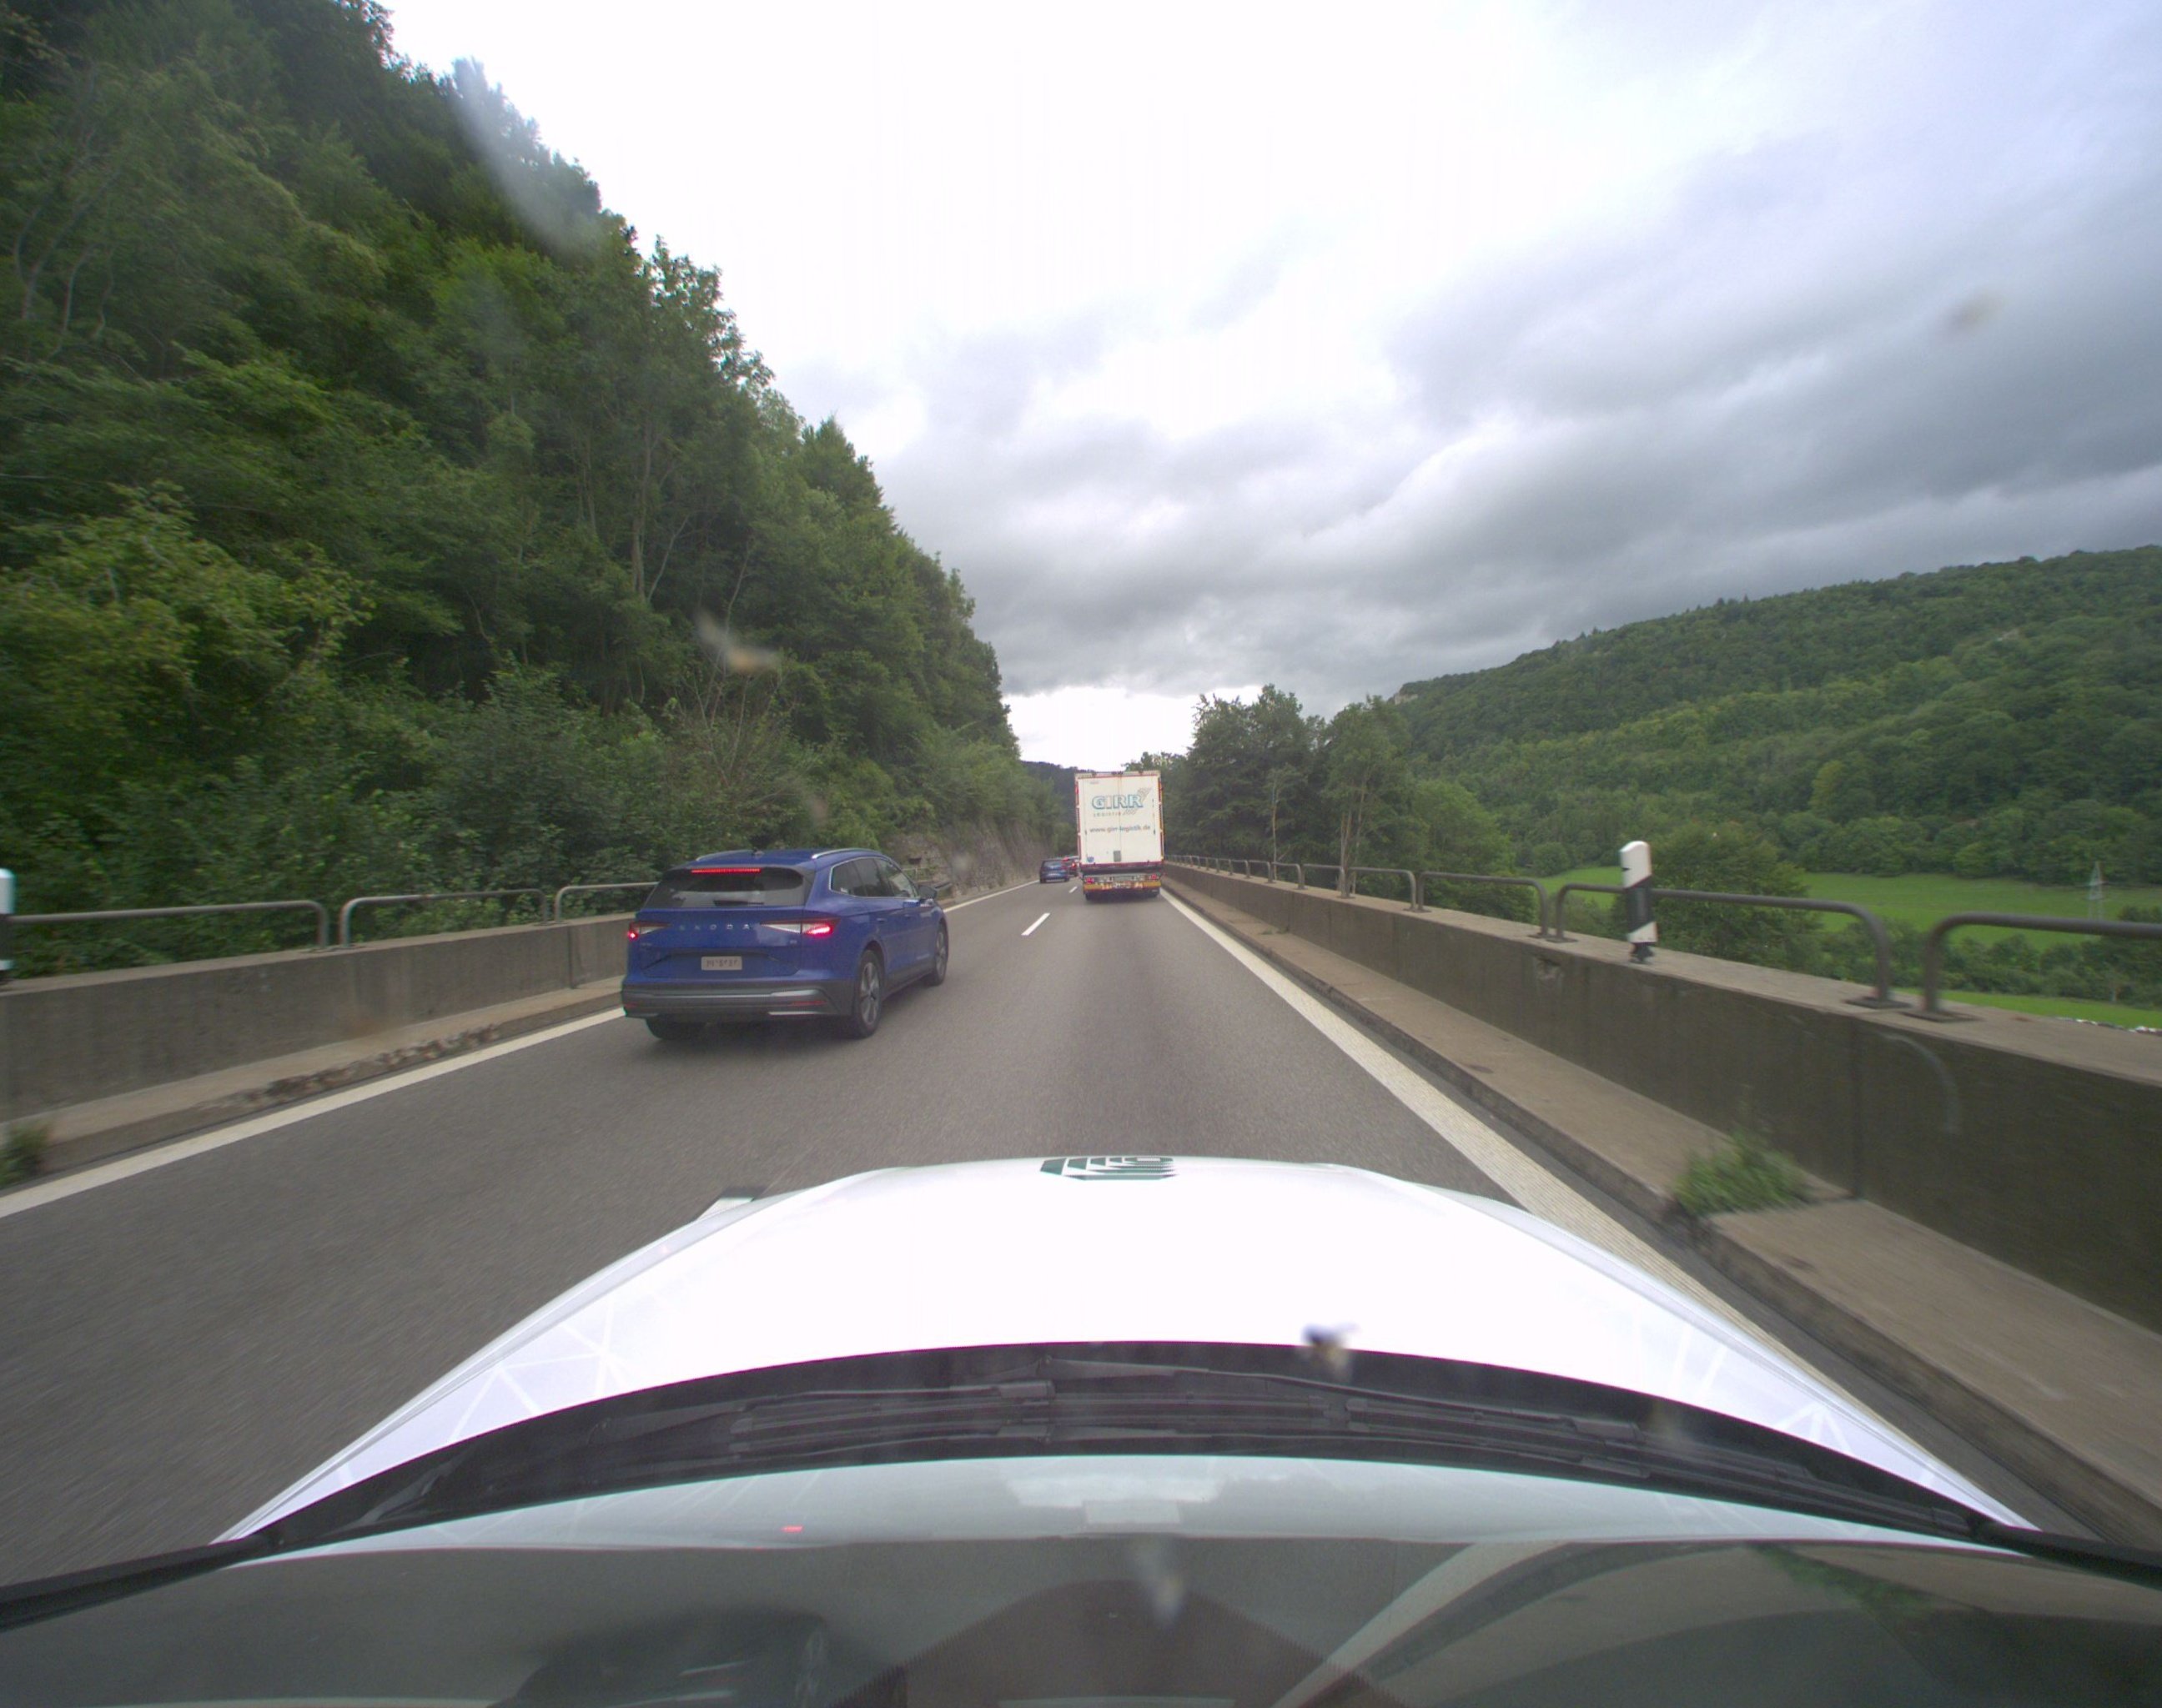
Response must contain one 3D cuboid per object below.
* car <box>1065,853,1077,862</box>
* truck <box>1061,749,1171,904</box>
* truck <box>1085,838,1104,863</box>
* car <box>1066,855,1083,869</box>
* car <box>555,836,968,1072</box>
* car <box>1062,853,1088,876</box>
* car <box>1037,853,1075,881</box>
[{"bbox_3d":[-1.892,0.572,148.198,1.744,1.587,3.990,1,-1,-7],"label":"car"},{"bbox_3d":[1.307,-0.831,31.566,3.072,4.464,15.163,-2,0,2],"label":"truck"},{"bbox_3d":[2.121,-0.458,132.519,2.626,3.857,12.354,-1,0,-1],"label":"truck"},{"bbox_3d":[-0.641,0.823,86.779,1.739,1.486,4.000,-1,0,0],"label":"car"},{"bbox_3d":[-2.652,0.722,8.351,1.985,1.632,5.012,-2,0,3],"label":"car"},{"bbox_3d":[-0.405,0.773,59.886,1.739,1.587,4.000,0,-1,1],"label":"car"},{"bbox_3d":[-1.470,0.805,48.931,1.986,1.596,4.355,0,-1,2],"label":"car"}]
